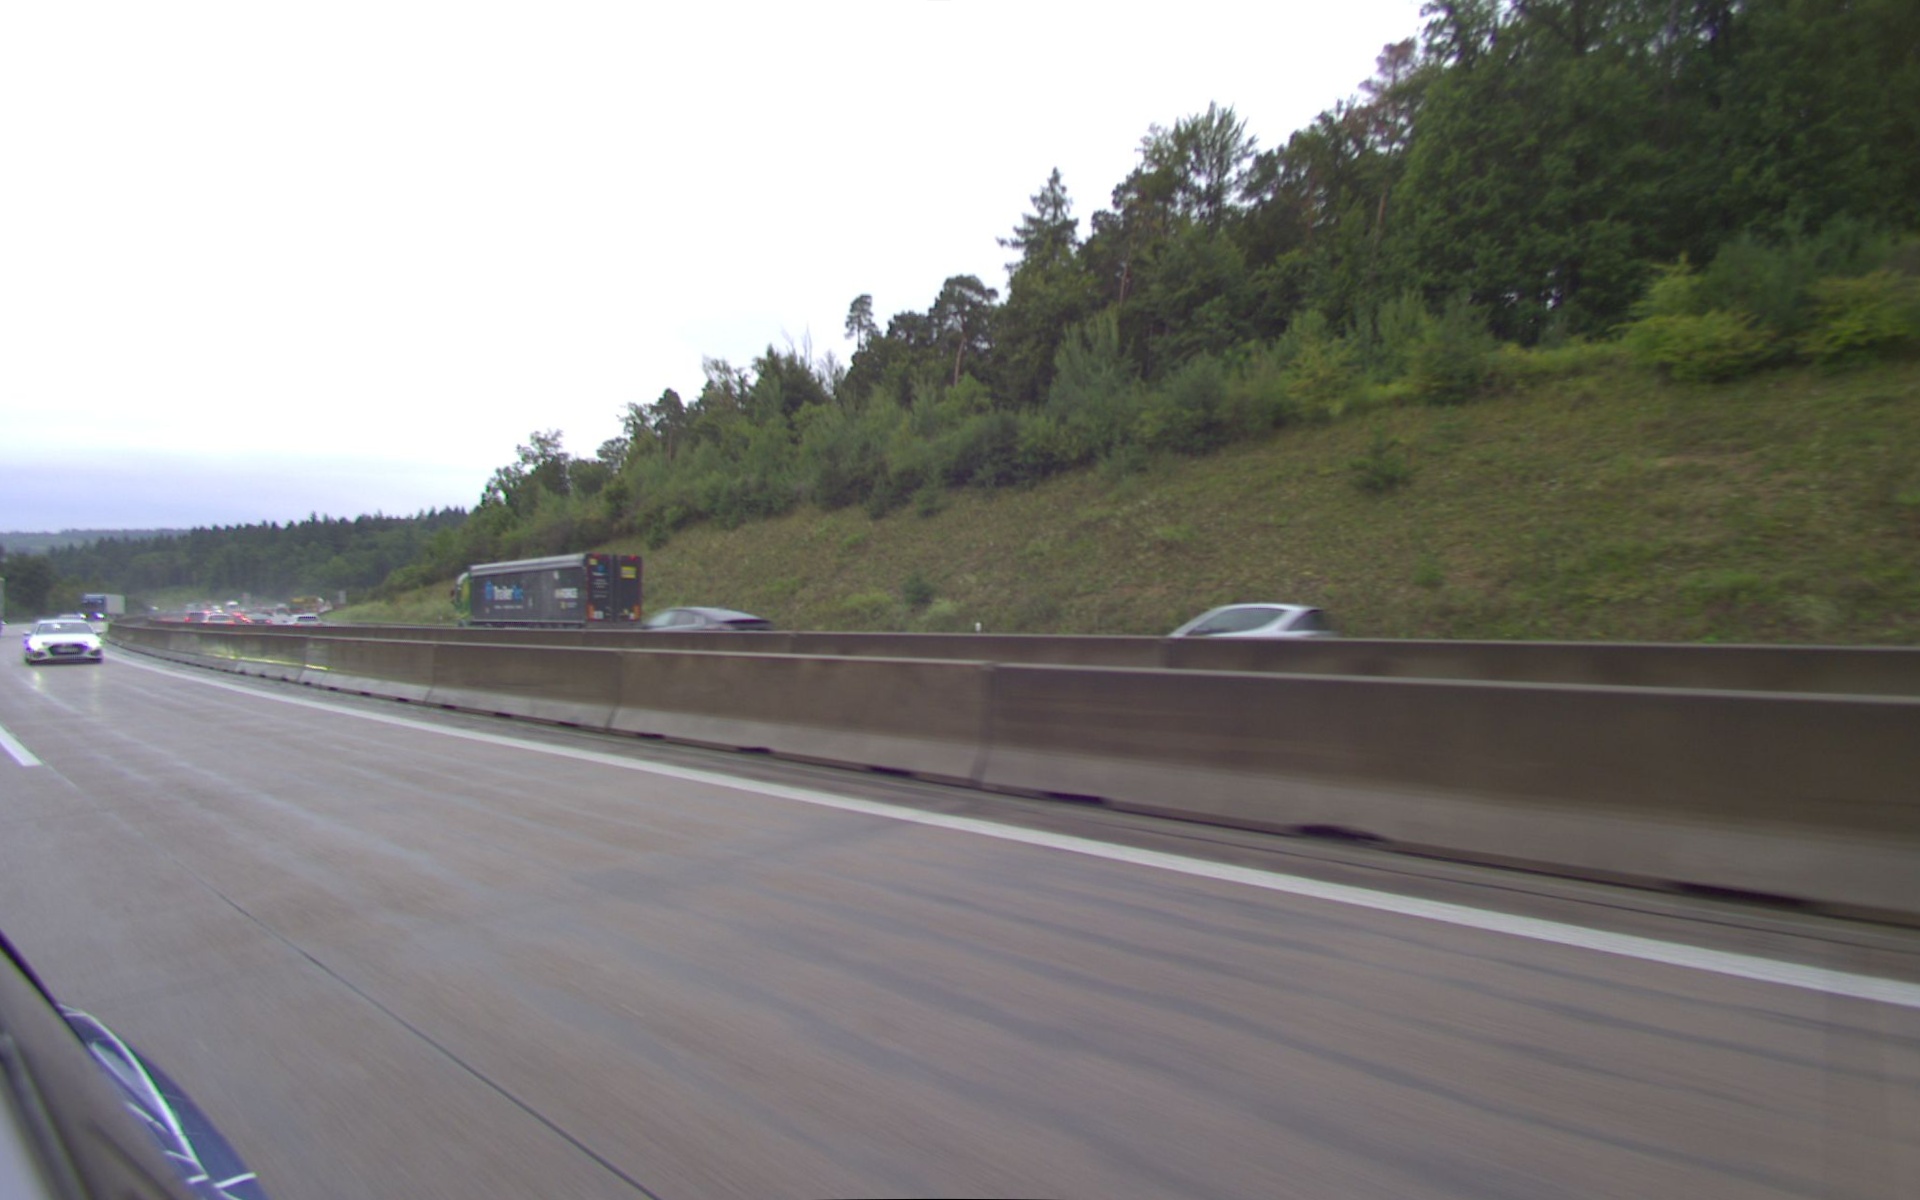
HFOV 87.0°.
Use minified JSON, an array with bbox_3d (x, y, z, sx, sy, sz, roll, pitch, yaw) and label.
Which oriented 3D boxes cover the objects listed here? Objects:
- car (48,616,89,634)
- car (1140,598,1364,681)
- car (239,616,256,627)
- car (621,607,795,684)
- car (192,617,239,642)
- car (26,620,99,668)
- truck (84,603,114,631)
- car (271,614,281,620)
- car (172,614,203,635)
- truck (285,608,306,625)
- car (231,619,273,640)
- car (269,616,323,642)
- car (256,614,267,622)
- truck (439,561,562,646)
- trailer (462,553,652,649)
[{"bbox_3d":[-76.862,2.151,87.338,1.820,1.494,4.462,-1,-1,-31],"label":"car"},{"bbox_3d":[5.797,0.751,20.374,4.000,1.504,1.712,-1,-1,43],"label":"car"},{"bbox_3d":[-103.831,3.126,147.404,1.719,1.573,4.292,0,-1,-39],"label":"car"},{"bbox_3d":[-5.472,0.924,21.727,4.000,1.504,1.712,-1,-1,43],"label":"car"},{"bbox_3d":[-49.496,1.956,67.278,1.970,1.597,4.777,0,-1,-43],"label":"car"},{"bbox_3d":[-29.504,1.412,33.256,1.691,1.418,4.941,-1,-1,-42],"label":"car"},{"bbox_3d":[-130.404,2.621,153.294,2.694,4.183,8.642,-1,-1,-36],"label":"truck"},{"bbox_3d":[-150.812,3.711,223.107,1.780,1.356,4.780,-1,0,-32],"label":"car"},{"bbox_3d":[-69.763,2.213,91.341,1.969,1.781,4.544,0,-1,-41],"label":"car"},{"bbox_3d":[-132.259,3.288,201.478,2.585,3.321,9.412,0,-1,-28],"label":"truck"},{"bbox_3d":[-57.394,2.363,82.031,1.971,1.597,4.775,0,-1,-45],"label":"car"},{"bbox_3d":[-42.110,1.810,64.121,1.971,1.597,4.775,0,-1,-45],"label":"car"},{"bbox_3d":[-132.622,3.379,192.114,1.631,1.356,4.097,-1,0,-33],"label":"car"},{"bbox_3d":[-23.537,0.235,51.637,8.118,3.990,2.895,-1,-1,43],"label":"truck"},{"bbox_3d":[-19.270,0.137,47.516,13.465,3.990,2.895,-1,-1,43],"label":"trailer"}]
